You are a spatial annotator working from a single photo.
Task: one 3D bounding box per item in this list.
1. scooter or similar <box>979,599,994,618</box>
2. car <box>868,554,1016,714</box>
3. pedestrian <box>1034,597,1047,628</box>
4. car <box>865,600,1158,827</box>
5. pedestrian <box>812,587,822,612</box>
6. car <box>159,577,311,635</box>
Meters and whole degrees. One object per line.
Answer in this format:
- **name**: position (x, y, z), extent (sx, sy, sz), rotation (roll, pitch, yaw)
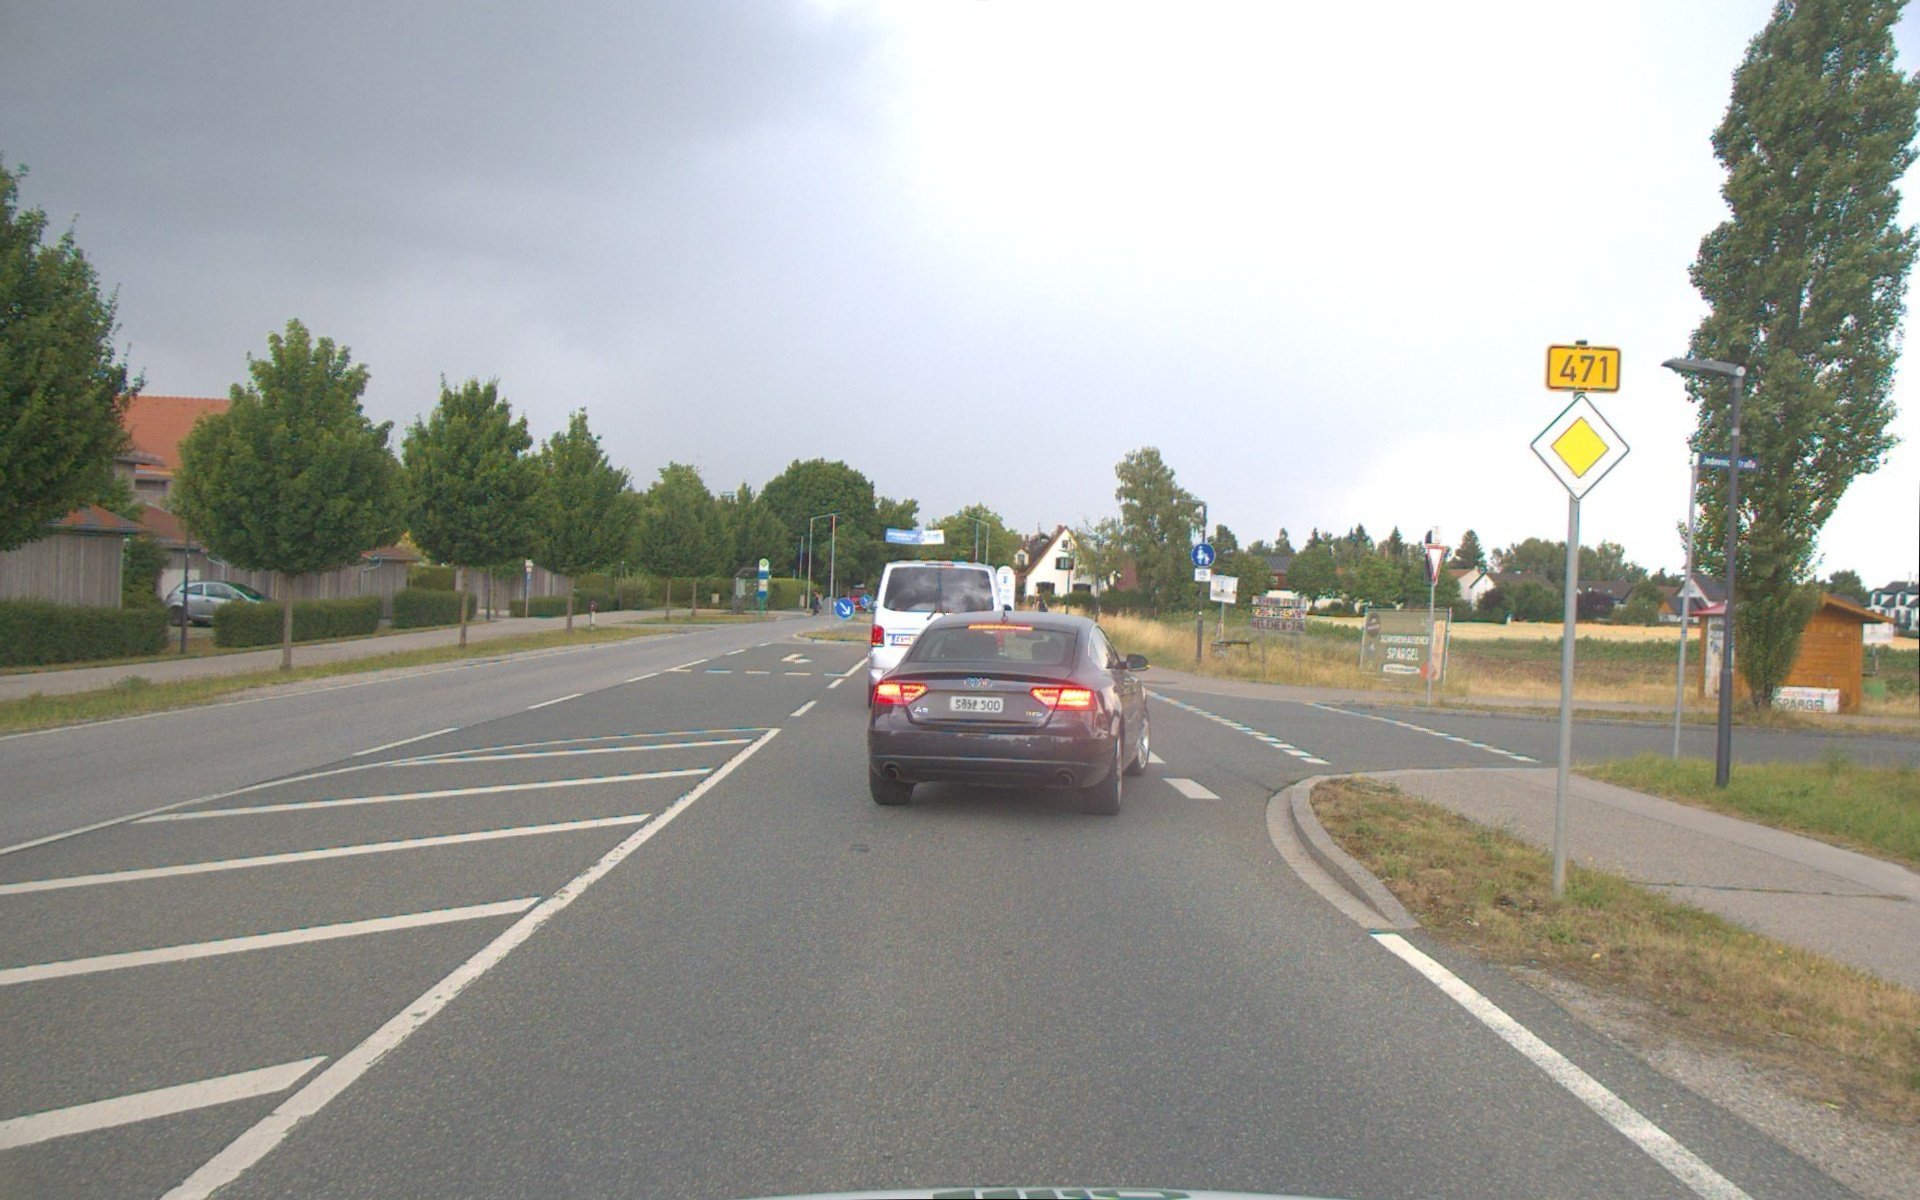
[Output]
- **scooter or similar**: position (1.539, 0.504, 96.803), extent (0.831, 1.123, 1.094), rotation (0, 0, -1)
- **car**: position (-0.307, 0.416, 23.111), extent (1.789, 1.946, 3.998), rotation (3, 0, -2)
- **pedestrian**: position (4.050, 0.618, 83.189), extent (0.611, 1.551, 0.679), rotation (0, 0, -1)
- **car**: position (0.582, 0.730, 12.996), extent (1.786, 1.413, 4.391), rotation (0, 1, 9)
- **pedestrian**: position (-9.056, -0.026, 104.789), extent (0.611, 1.551, 0.679), rotation (0, 0, -1)
- **car**: position (-23.234, 0.180, 53.116), extent (3.905, 1.583, 2.000), rotation (3, 0, 0)
